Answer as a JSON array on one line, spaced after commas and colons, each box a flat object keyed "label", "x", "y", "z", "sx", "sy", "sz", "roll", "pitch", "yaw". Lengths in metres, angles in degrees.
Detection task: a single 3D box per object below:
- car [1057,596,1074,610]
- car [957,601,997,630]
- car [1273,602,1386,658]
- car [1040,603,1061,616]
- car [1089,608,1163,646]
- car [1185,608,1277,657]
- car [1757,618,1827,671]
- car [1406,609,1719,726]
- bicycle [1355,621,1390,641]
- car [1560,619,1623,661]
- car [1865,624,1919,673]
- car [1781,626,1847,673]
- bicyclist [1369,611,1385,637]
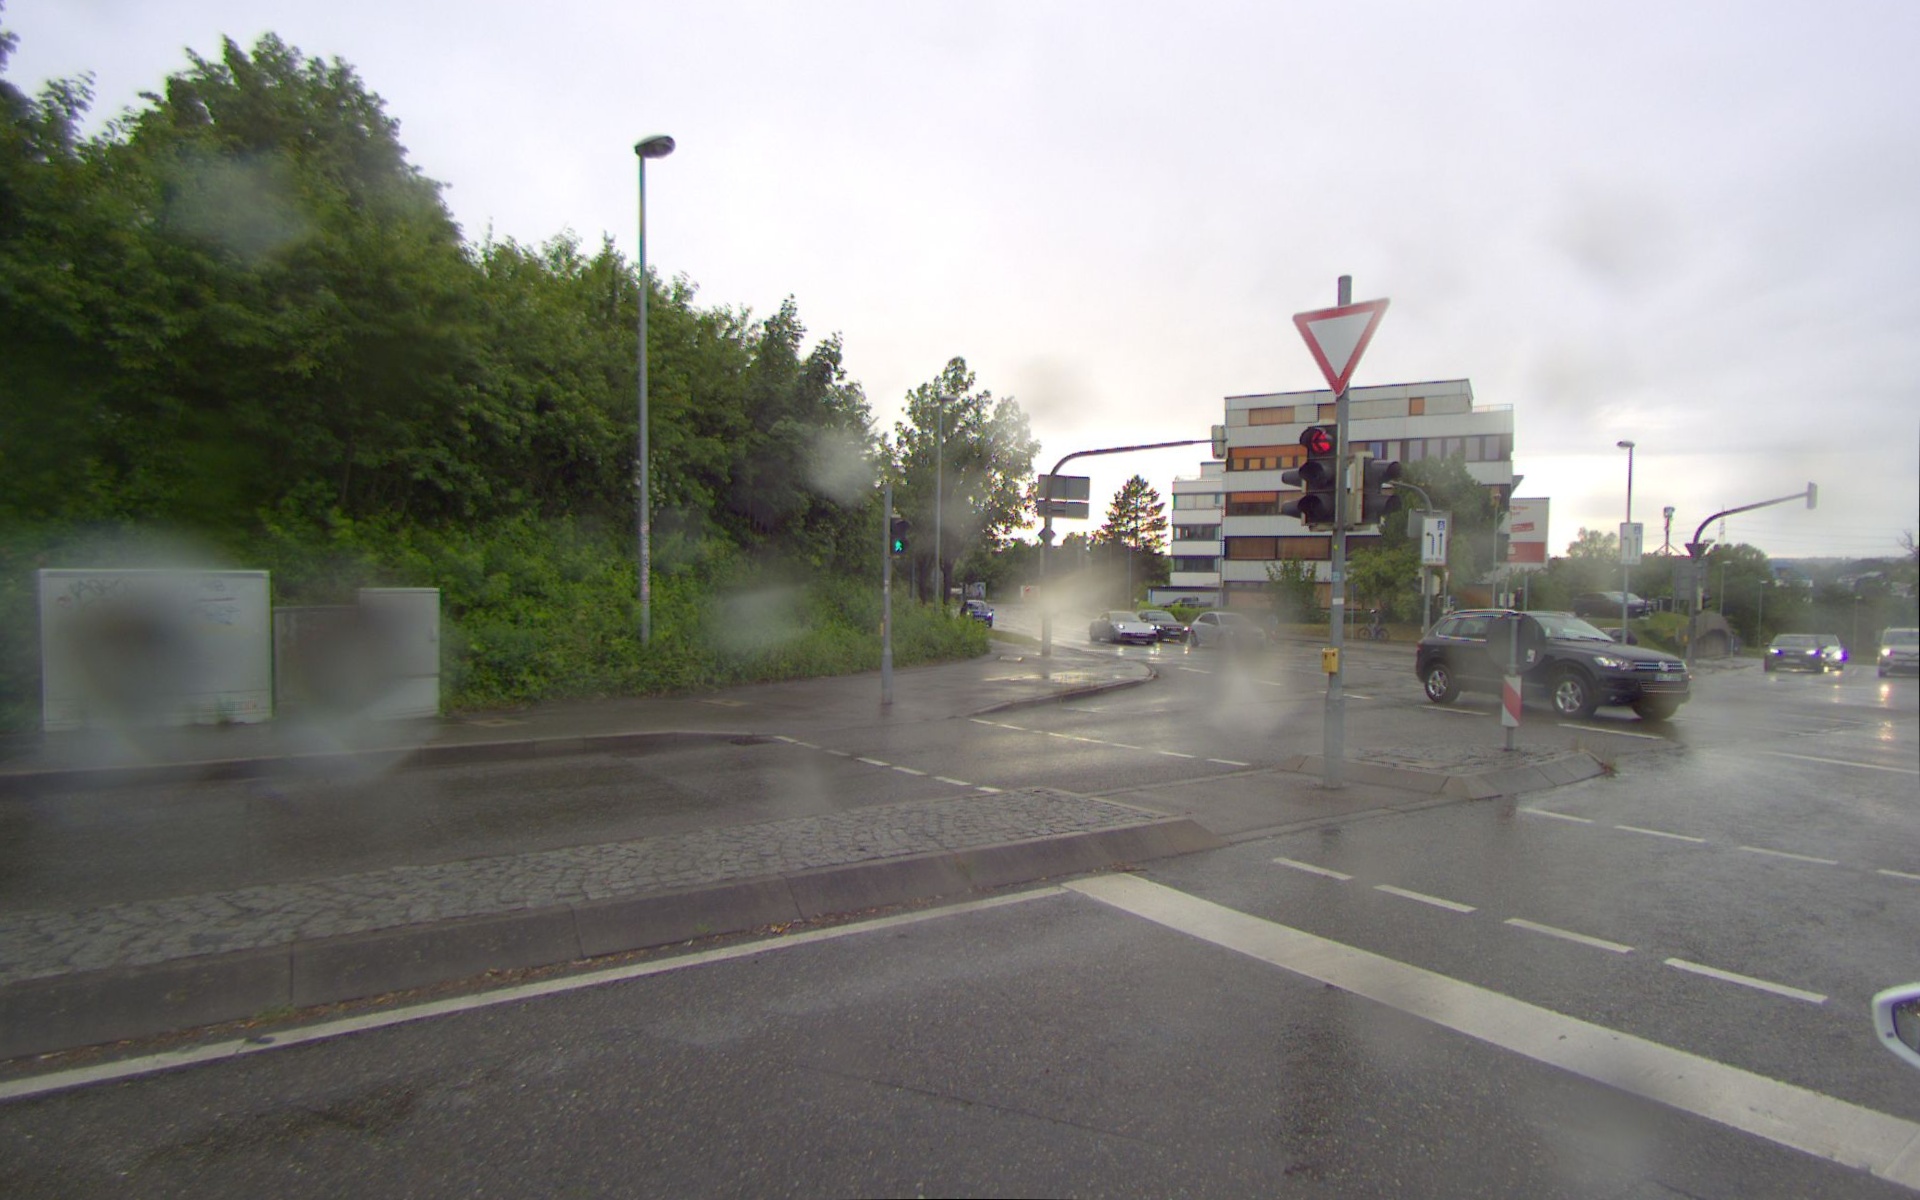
[{"label": "car", "x": 13.486, "y": 0.368, "z": 128.876, "sx": 1.918, "sy": 1.617, "sz": 4.001, "roll": 1, "pitch": 1, "yaw": 2}, {"label": "car", "x": 0.964, "y": 0.870, "z": 58.292, "sx": 1.811, "sy": 1.534, "sz": 3.996, "roll": 1, "pitch": 0, "yaw": -6}, {"label": "car", "x": 13.662, "y": 1.063, "z": 37.396, "sx": 1.966, "sy": 1.865, "sz": 4.143, "roll": 1, "pitch": 1, "yaw": -14}, {"label": "car", "x": 8.248, "y": 0.854, "z": 91.727, "sx": 1.784, "sy": 1.120, "sz": 3.517, "roll": 1, "pitch": 0, "yaw": 3}, {"label": "car", "x": 6.919, "y": 1.104, "z": 42.283, "sx": 1.823, "sy": 1.377, "sz": 4.440, "roll": 1, "pitch": 1, "yaw": -8}, {"label": "car", "x": 10.658, "y": 1.244, "z": 39.812, "sx": 1.965, "sy": 1.706, "sz": 3.991, "roll": 1, "pitch": 1, "yaw": -11}, {"label": "car", "x": 33.594, "y": 1.734, "z": 40.523, "sx": 1.971, "sy": 1.920, "sz": 3.978, "roll": 2, "pitch": 1, "yaw": 42}, {"label": "car", "x": 10.171, "y": 1.044, "z": 17.459, "sx": 1.967, "sy": 1.725, "sz": 4.597, "roll": 1, "pitch": -1, "yaw": -15}, {"label": "bicycle", "x": 23.148, "y": 1.722, "z": 56.349, "sx": 0.603, "sy": 1.066, "sz": 1.764, "roll": 1, "pitch": 1, "yaw": -32}, {"label": "car", "x": 31.827, "y": 1.978, "z": 50.588, "sx": 1.972, "sy": 1.920, "sz": 3.977, "roll": 2, "pitch": 1, "yaw": 43}, {"label": "car", "x": 34.849, "y": 1.742, "z": 36.967, "sx": 3.972, "sy": 1.639, "sz": 1.974, "roll": 1, "pitch": 1, "yaw": -43}, {"label": "car", "x": 38.837, "y": 2.194, "z": 45.659, "sx": 1.973, "sy": 1.920, "sz": 3.975, "roll": 2, "pitch": 1, "yaw": 44}, {"label": "bicyclist", "x": 23.301, "y": 1.336, "z": 56.108, "sx": 0.597, "sy": 1.465, "sz": 0.540, "roll": 1, "pitch": 1, "yaw": -33}]
